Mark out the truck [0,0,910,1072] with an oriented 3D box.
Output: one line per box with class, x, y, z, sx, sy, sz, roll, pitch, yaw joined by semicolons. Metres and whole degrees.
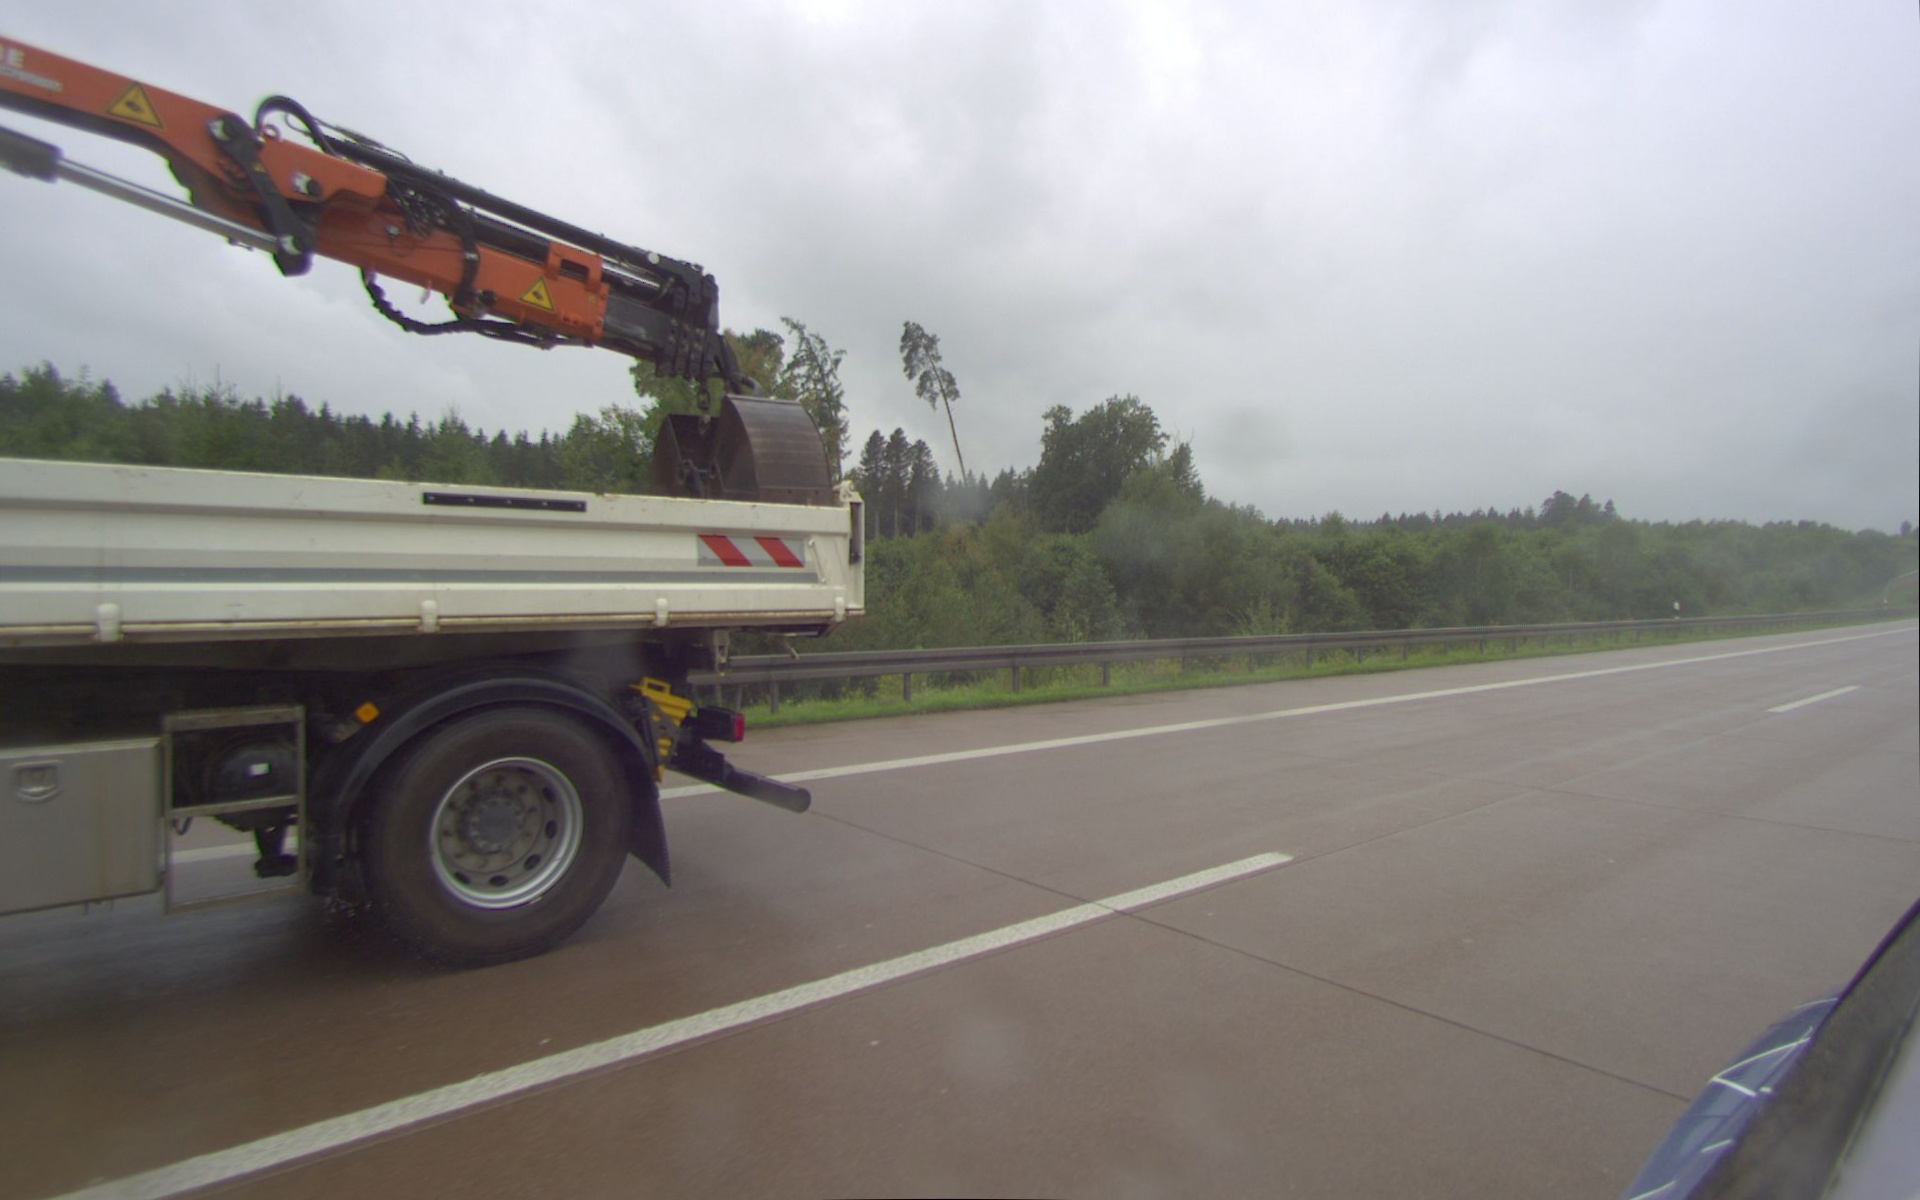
truck;-4.267;-0.479;3.984;7.813;3.777;3.240;0;0;-40
